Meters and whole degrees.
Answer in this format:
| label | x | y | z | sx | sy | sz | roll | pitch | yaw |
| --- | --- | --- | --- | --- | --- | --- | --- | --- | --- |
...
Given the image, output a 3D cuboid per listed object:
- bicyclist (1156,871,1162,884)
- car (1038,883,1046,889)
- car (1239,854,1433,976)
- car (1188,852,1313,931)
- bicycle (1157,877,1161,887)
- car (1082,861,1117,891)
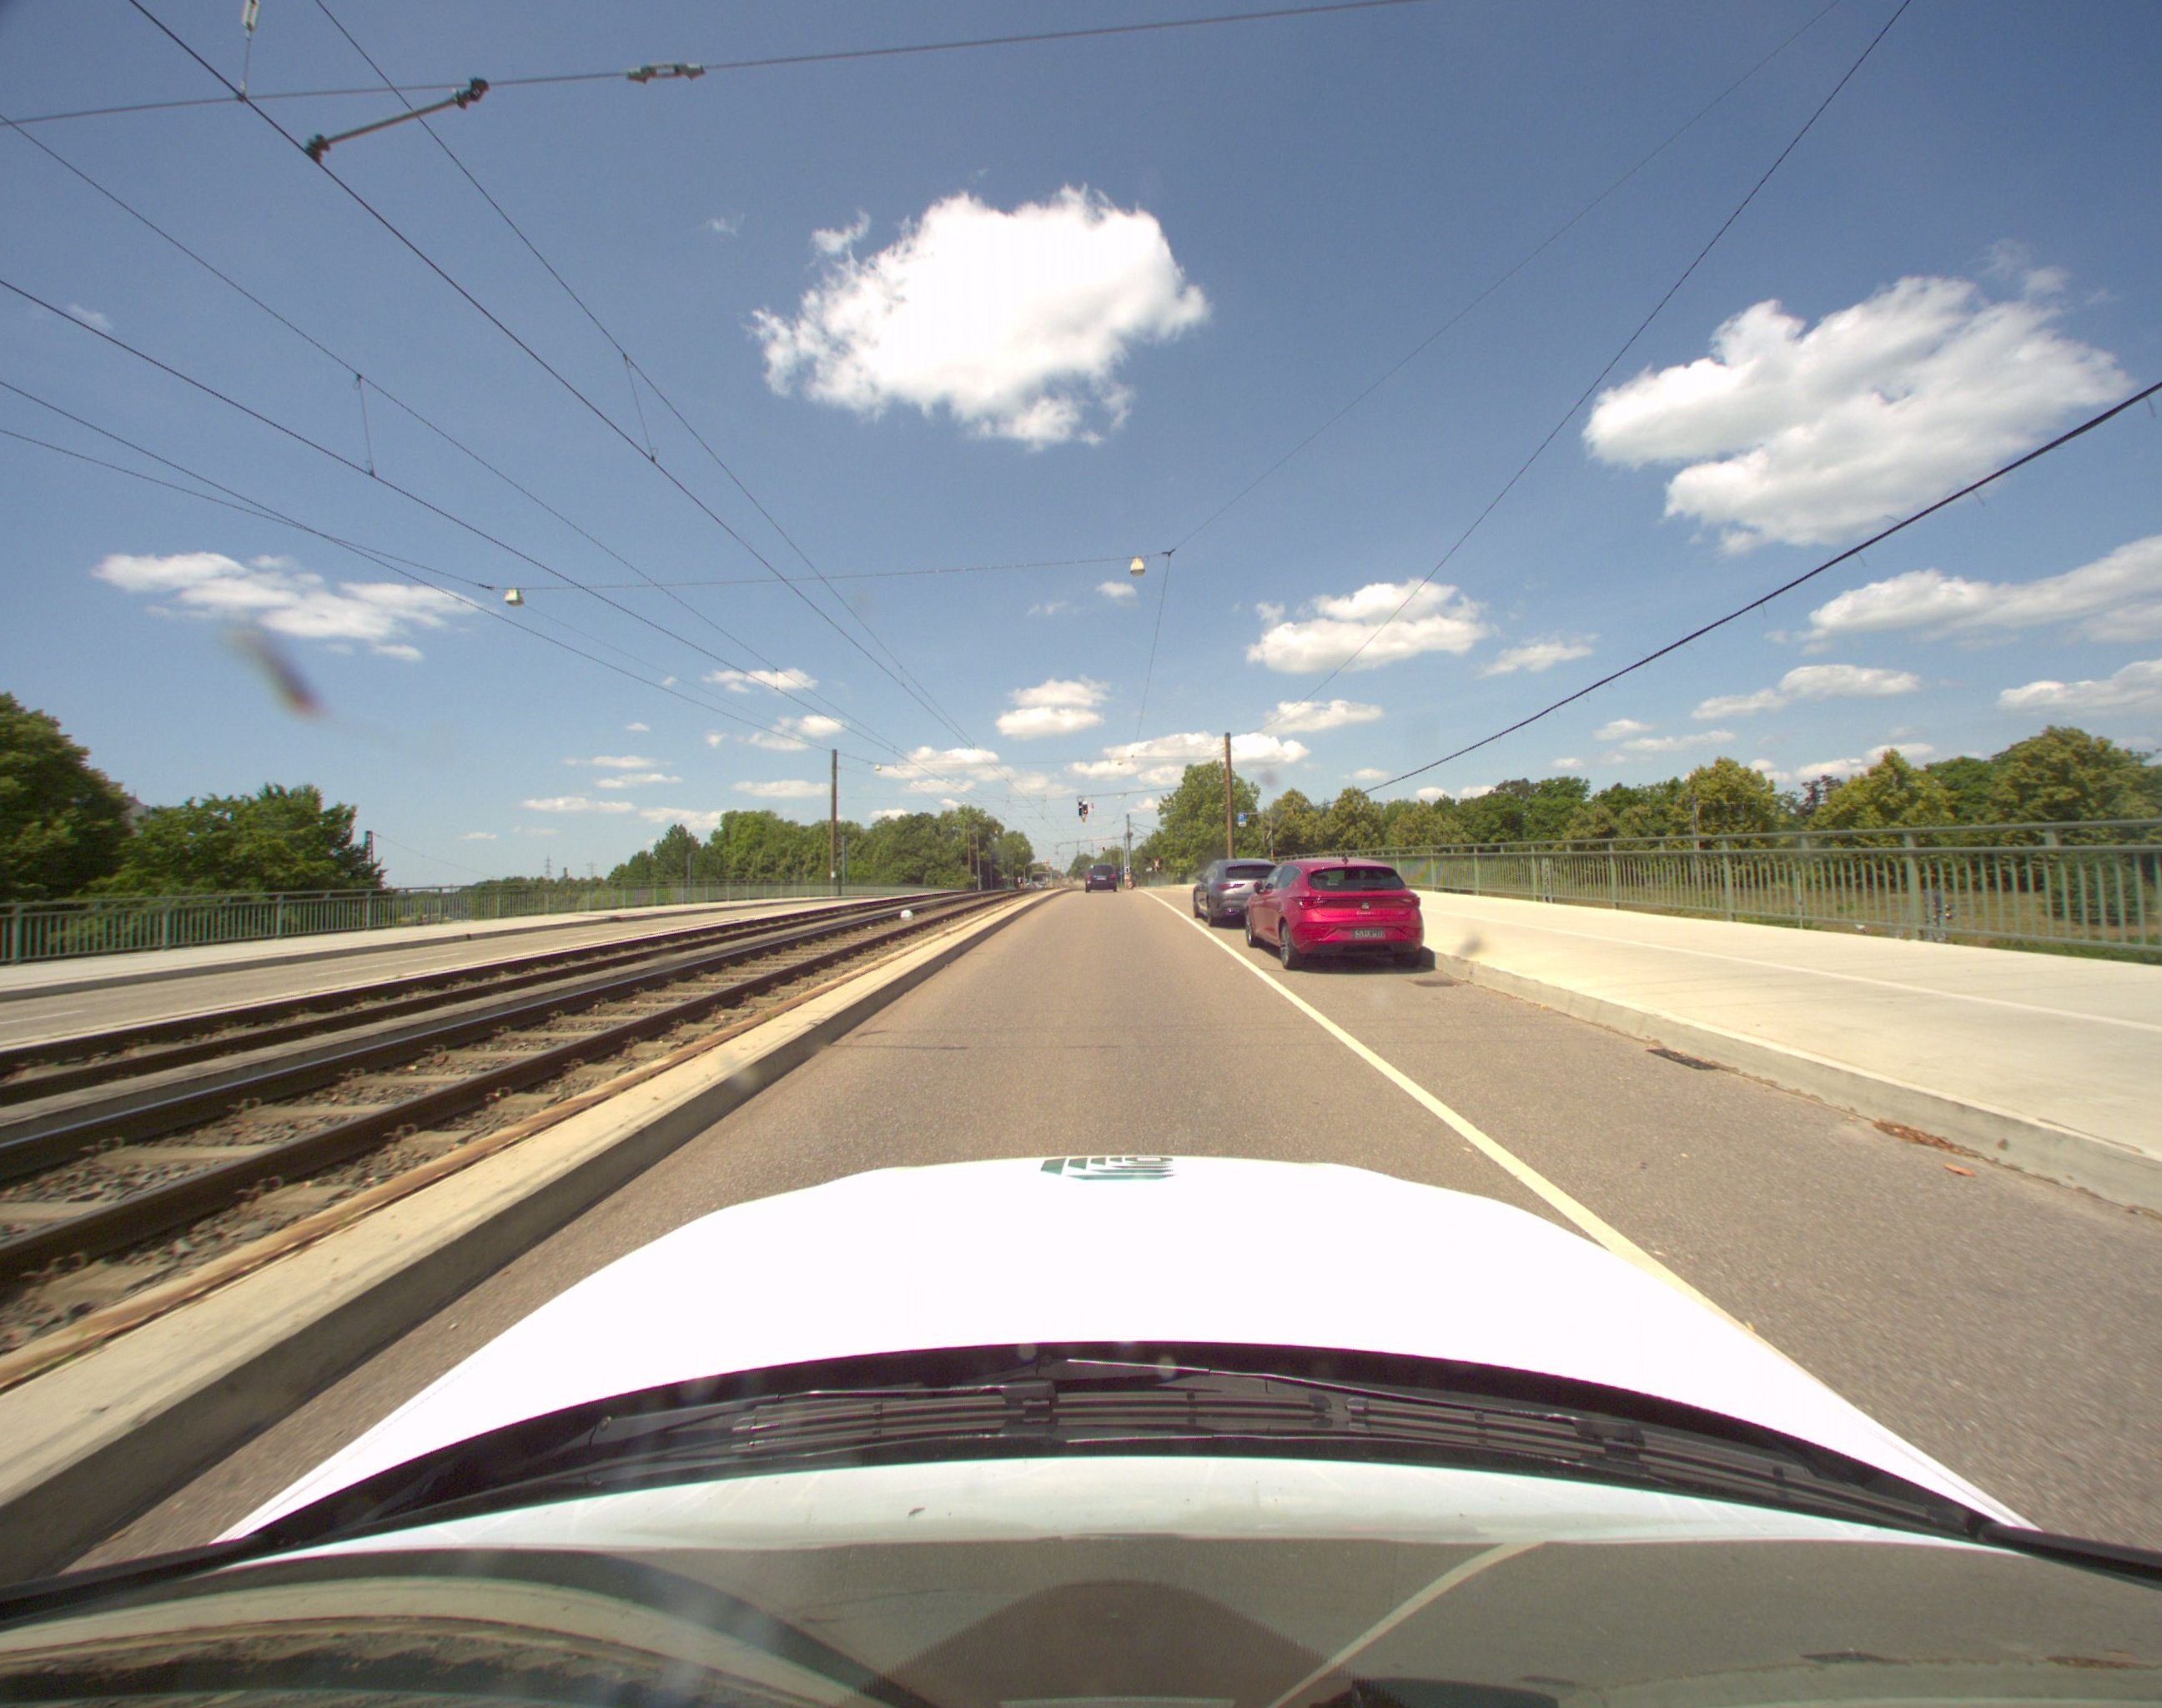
| label | x | y | z | sx | sy | sz | roll | pitch | yaw |
| --- | --- | --- | --- | --- | --- | --- | --- | --- | --- |
| bicyclist | 9.110 | 2.751 | 95.177 | 0.583 | 1.495 | 0.558 | -1 | -1 | 3 |
| car | -10.645 | 8.876 | 224.412 | 1.698 | 1.510 | 3.735 | -3 | -2 | 2 |
| car | 3.522 | 0.746 | 12.087 | 1.641 | 1.460 | 4.287 | -1 | 0 | 2 |
| car | 3.685 | 0.748 | 18.573 | 1.986 | 1.552 | 4.723 | -1 | 0 | 2 |
| bicycle | 9.125 | 3.234 | 95.171 | 0.430 | 1.152 | 1.856 | -1 | -1 | 3 |
| car | 1.053 | 1.187 | 45.984 | 1.846 | 1.570 | 4.389 | -1 | 0 | 2 |
